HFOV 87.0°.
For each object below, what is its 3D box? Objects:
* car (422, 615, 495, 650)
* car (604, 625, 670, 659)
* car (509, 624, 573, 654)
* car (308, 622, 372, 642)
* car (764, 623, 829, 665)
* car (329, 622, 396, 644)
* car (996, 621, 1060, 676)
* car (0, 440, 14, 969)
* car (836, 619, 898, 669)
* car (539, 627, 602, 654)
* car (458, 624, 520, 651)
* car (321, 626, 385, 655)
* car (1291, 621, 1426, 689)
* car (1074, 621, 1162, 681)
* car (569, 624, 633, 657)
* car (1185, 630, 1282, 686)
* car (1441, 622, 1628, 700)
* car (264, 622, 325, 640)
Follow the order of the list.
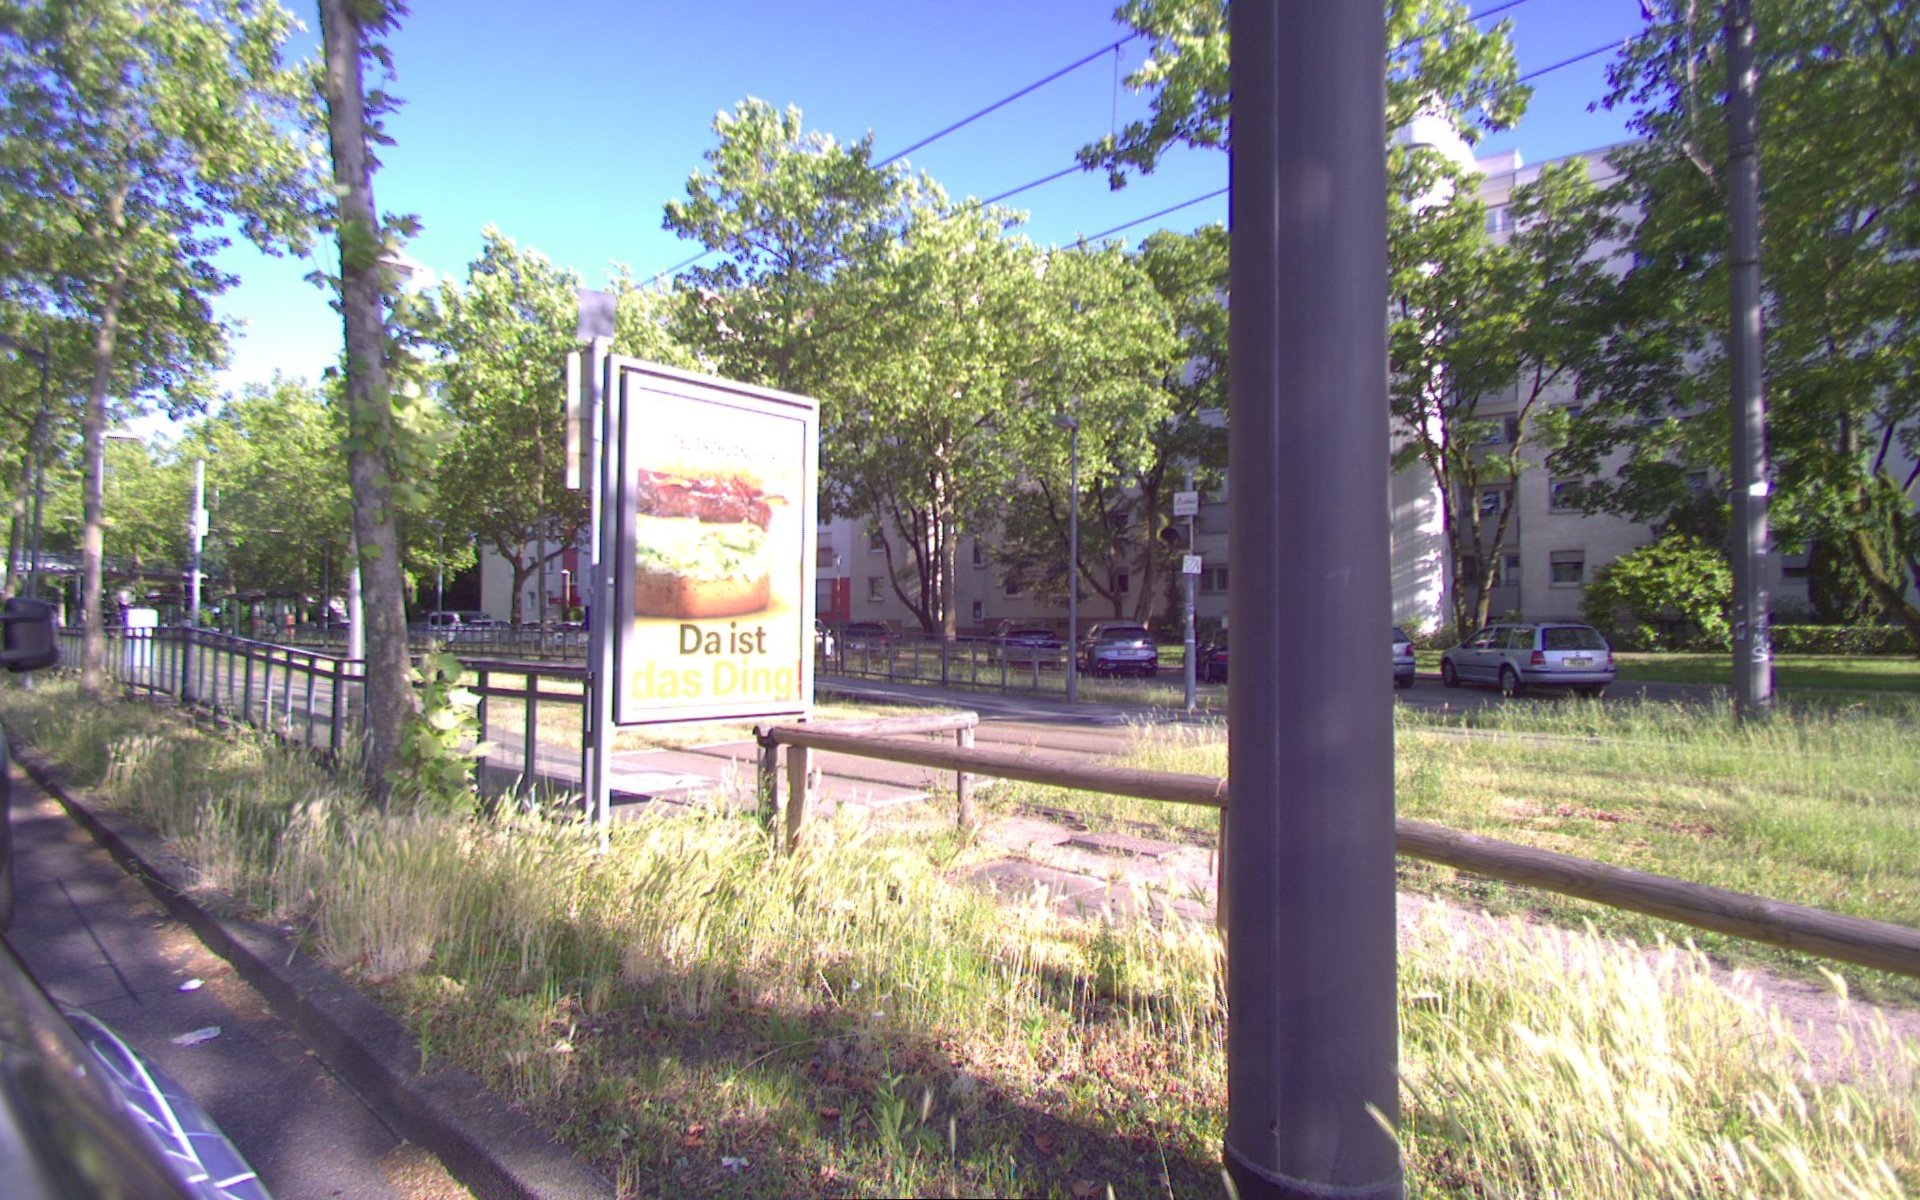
[{"bbox_3d":[-28.328,1.822,57.339,1.898,1.898,4.365,0,-1,1],"label":"car"},{"bbox_3d":[-14.085,1.816,44.291,1.627,1.403,3.679,0,-1,2],"label":"car"},{"bbox_3d":[-21.125,1.955,51.145,1.627,1.460,3.680,0,-1,1],"label":"car"},{"bbox_3d":[-44.645,2.276,72.997,1.898,1.386,4.365,0,-1,1],"label":"car"},{"bbox_3d":[-5.912,1.568,36.928,1.664,1.444,3.679,0,-1,2],"label":"car"},{"bbox_3d":[-40.284,2.199,68.403,1.898,1.386,4.365,0,-1,1],"label":"car"},{"bbox_3d":[1.930,1.365,29.455,1.664,1.482,3.680,0,-1,1],"label":"car"},{"bbox_3d":[-6.420,0.451,5.035,5.111,2.131,2.014,-1,-1,41],"label":"car"},{"bbox_3d":[-3.110,1.455,34.477,1.664,1.579,3.679,0,-1,2],"label":"car"},{"bbox_3d":[-19.048,1.977,49.677,1.627,1.251,3.680,0,-1,1],"label":"car"},{"bbox_3d":[-25.800,2.031,55.530,1.627,1.407,3.680,0,-1,1],"label":"car"},{"bbox_3d":[-31.079,2.039,51.773,3.757,1.431,1.801,-1,-2,42],"label":"car"},{"bbox_3d":[9.149,1.217,23.536,1.679,1.444,3.681,0,-1,1],"label":"car"},{"bbox_3d":[4.203,1.343,27.502,1.894,1.507,3.680,0,-1,2],"label":"car"},{"bbox_3d":[-16.684,1.839,47.147,1.627,1.460,3.680,0,-1,1],"label":"car"},{"bbox_3d":[6.726,1.398,25.216,1.602,1.256,3.677,0,-1,4],"label":"car"},{"bbox_3d":[11.544,1.174,20.637,1.707,1.444,3.681,0,-1,1],"label":"car"},{"bbox_3d":[-52.146,2.398,79.377,1.898,1.386,4.365,0,-1,1],"label":"car"}]
